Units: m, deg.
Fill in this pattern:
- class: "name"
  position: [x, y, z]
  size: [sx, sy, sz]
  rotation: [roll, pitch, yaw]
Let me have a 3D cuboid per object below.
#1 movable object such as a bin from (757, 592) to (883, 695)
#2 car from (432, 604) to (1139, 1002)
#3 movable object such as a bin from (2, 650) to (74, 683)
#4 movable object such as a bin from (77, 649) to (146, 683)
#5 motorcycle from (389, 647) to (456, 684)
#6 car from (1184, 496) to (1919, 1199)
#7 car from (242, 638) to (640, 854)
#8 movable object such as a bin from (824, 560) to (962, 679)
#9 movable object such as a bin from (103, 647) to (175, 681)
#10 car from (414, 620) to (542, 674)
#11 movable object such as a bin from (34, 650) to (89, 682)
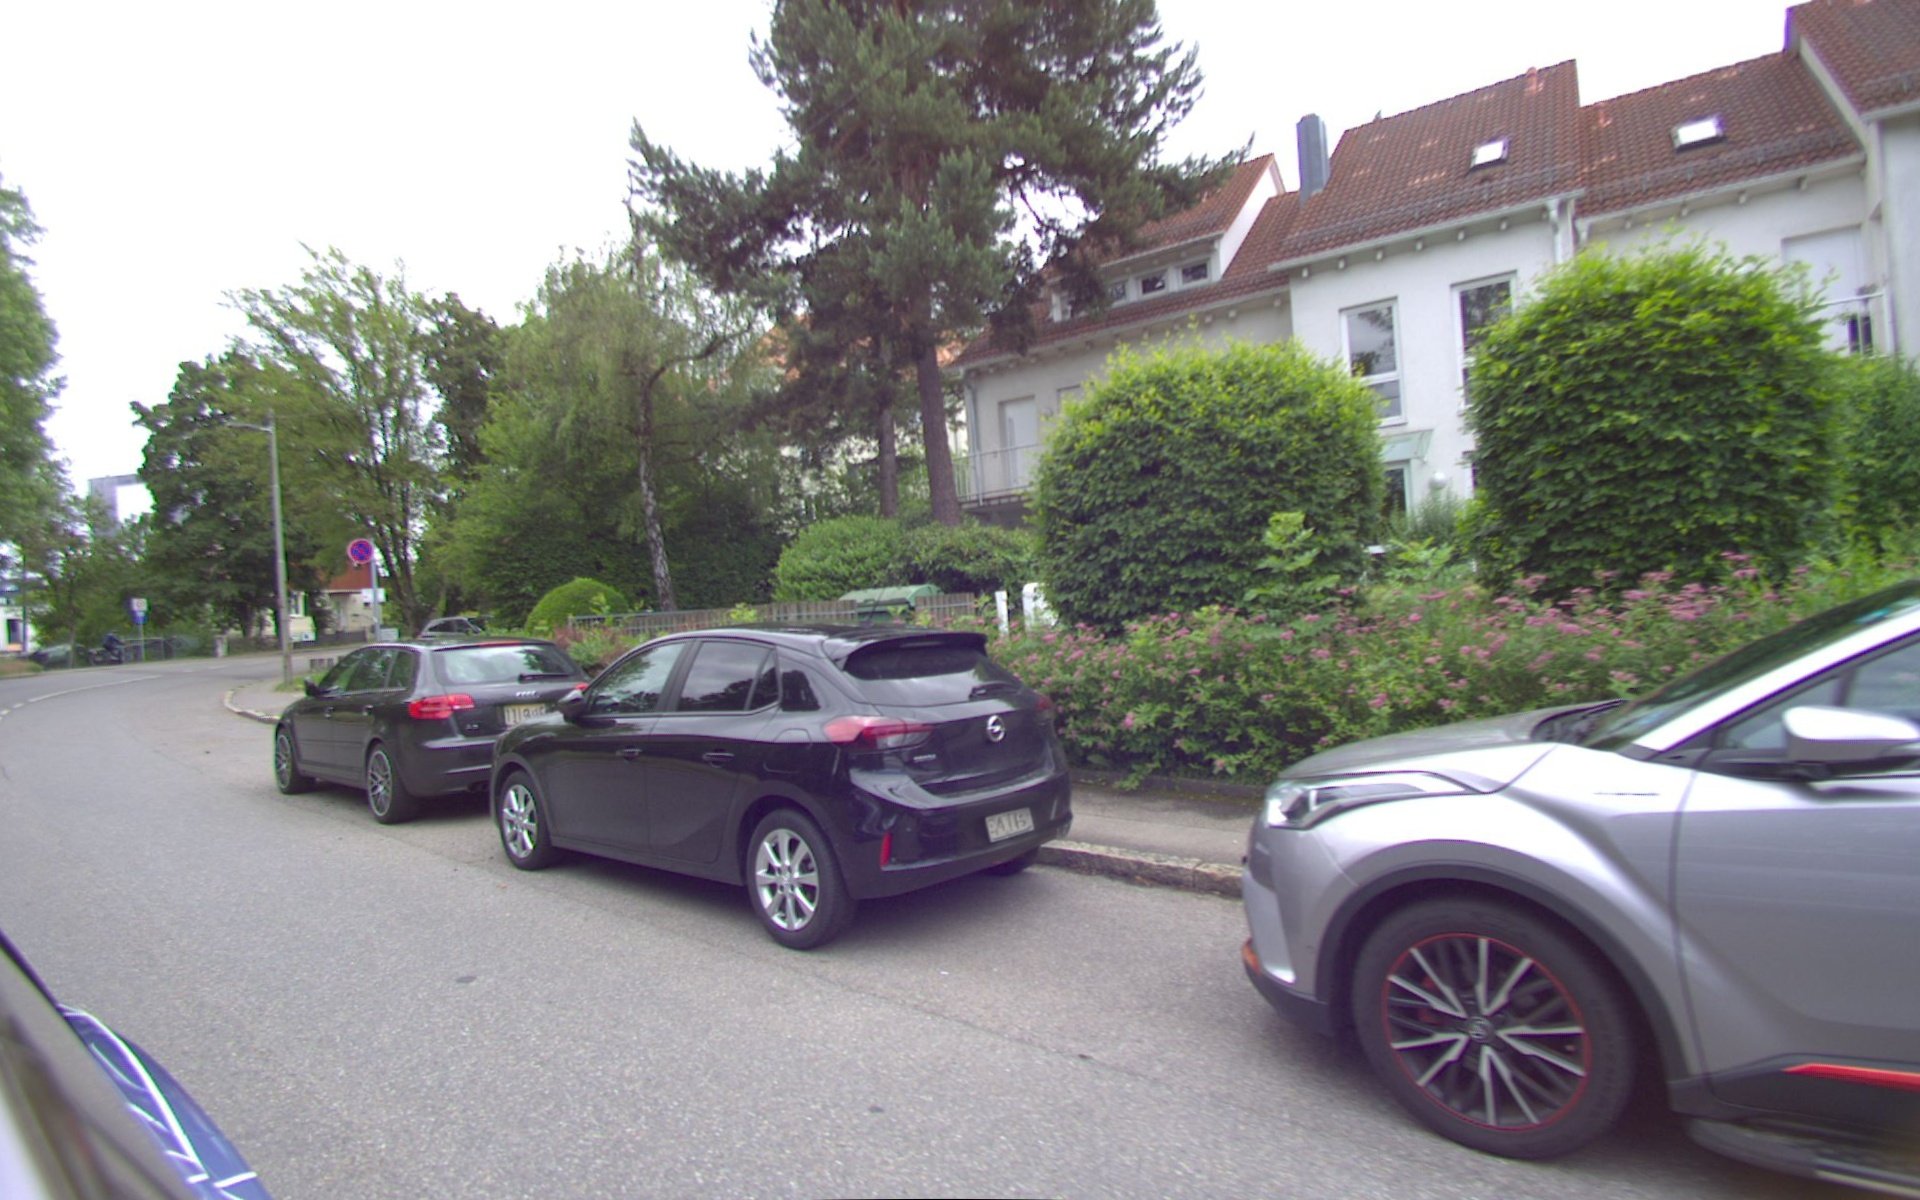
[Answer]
- class: "movable object such as a bin"
  position: [-2.052, 0.642, 14.824]
  size: [1.392, 1.373, 1.103]
  rotation: [-5, -1, 39]
- class: "car"
  position: [-1.293, 0.860, 5.862]
  size: [4.330, 1.452, 1.632]
  rotation: [-3, -1, 41]
- class: "movable object such as a bin"
  position: [-50.949, 3.681, 55.924]
  size: [2.865, 1.559, 1.443]
  rotation: [-4, 0, 10]
- class: "movable object such as a bin"
  position: [-50.874, 3.928, 60.710]
  size: [2.213, 1.745, 2.199]
  rotation: [-4, 0, 13]
- class: "motorcycle"
  position: [-19.843, 2.411, 37.393]
  size: [0.860, 1.160, 2.049]
  rotation: [-3, 0, 26]
- class: "car"
  position: [2.820, 0.516, 2.358]
  size: [4.124, 1.491, 1.743]
  rotation: [-3, -2, 41]
- class: "car"
  position: [-4.909, 1.142, 9.237]
  size: [4.502, 1.429, 1.716]
  rotation: [-3, -1, 42]
- class: "movable object such as a bin"
  position: [-0.920, 0.269, 13.843]
  size: [1.452, 1.478, 1.082]
  rotation: [-5, -1, 39]
- class: "movable object such as a bin"
  position: [-48.624, 3.769, 59.969]
  size: [2.475, 1.726, 2.199]
  rotation: [-4, 0, 13]
- class: "car"
  position: [-17.039, 1.671, 35.760]
  size: [4.310, 1.605, 1.732]
  rotation: [-4, 0, 26]
- class: "movable object such as a bin"
  position: [-48.768, 3.574, 54.953]
  size: [1.410, 1.559, 1.671]
  rotation: [-4, 0, 9]
